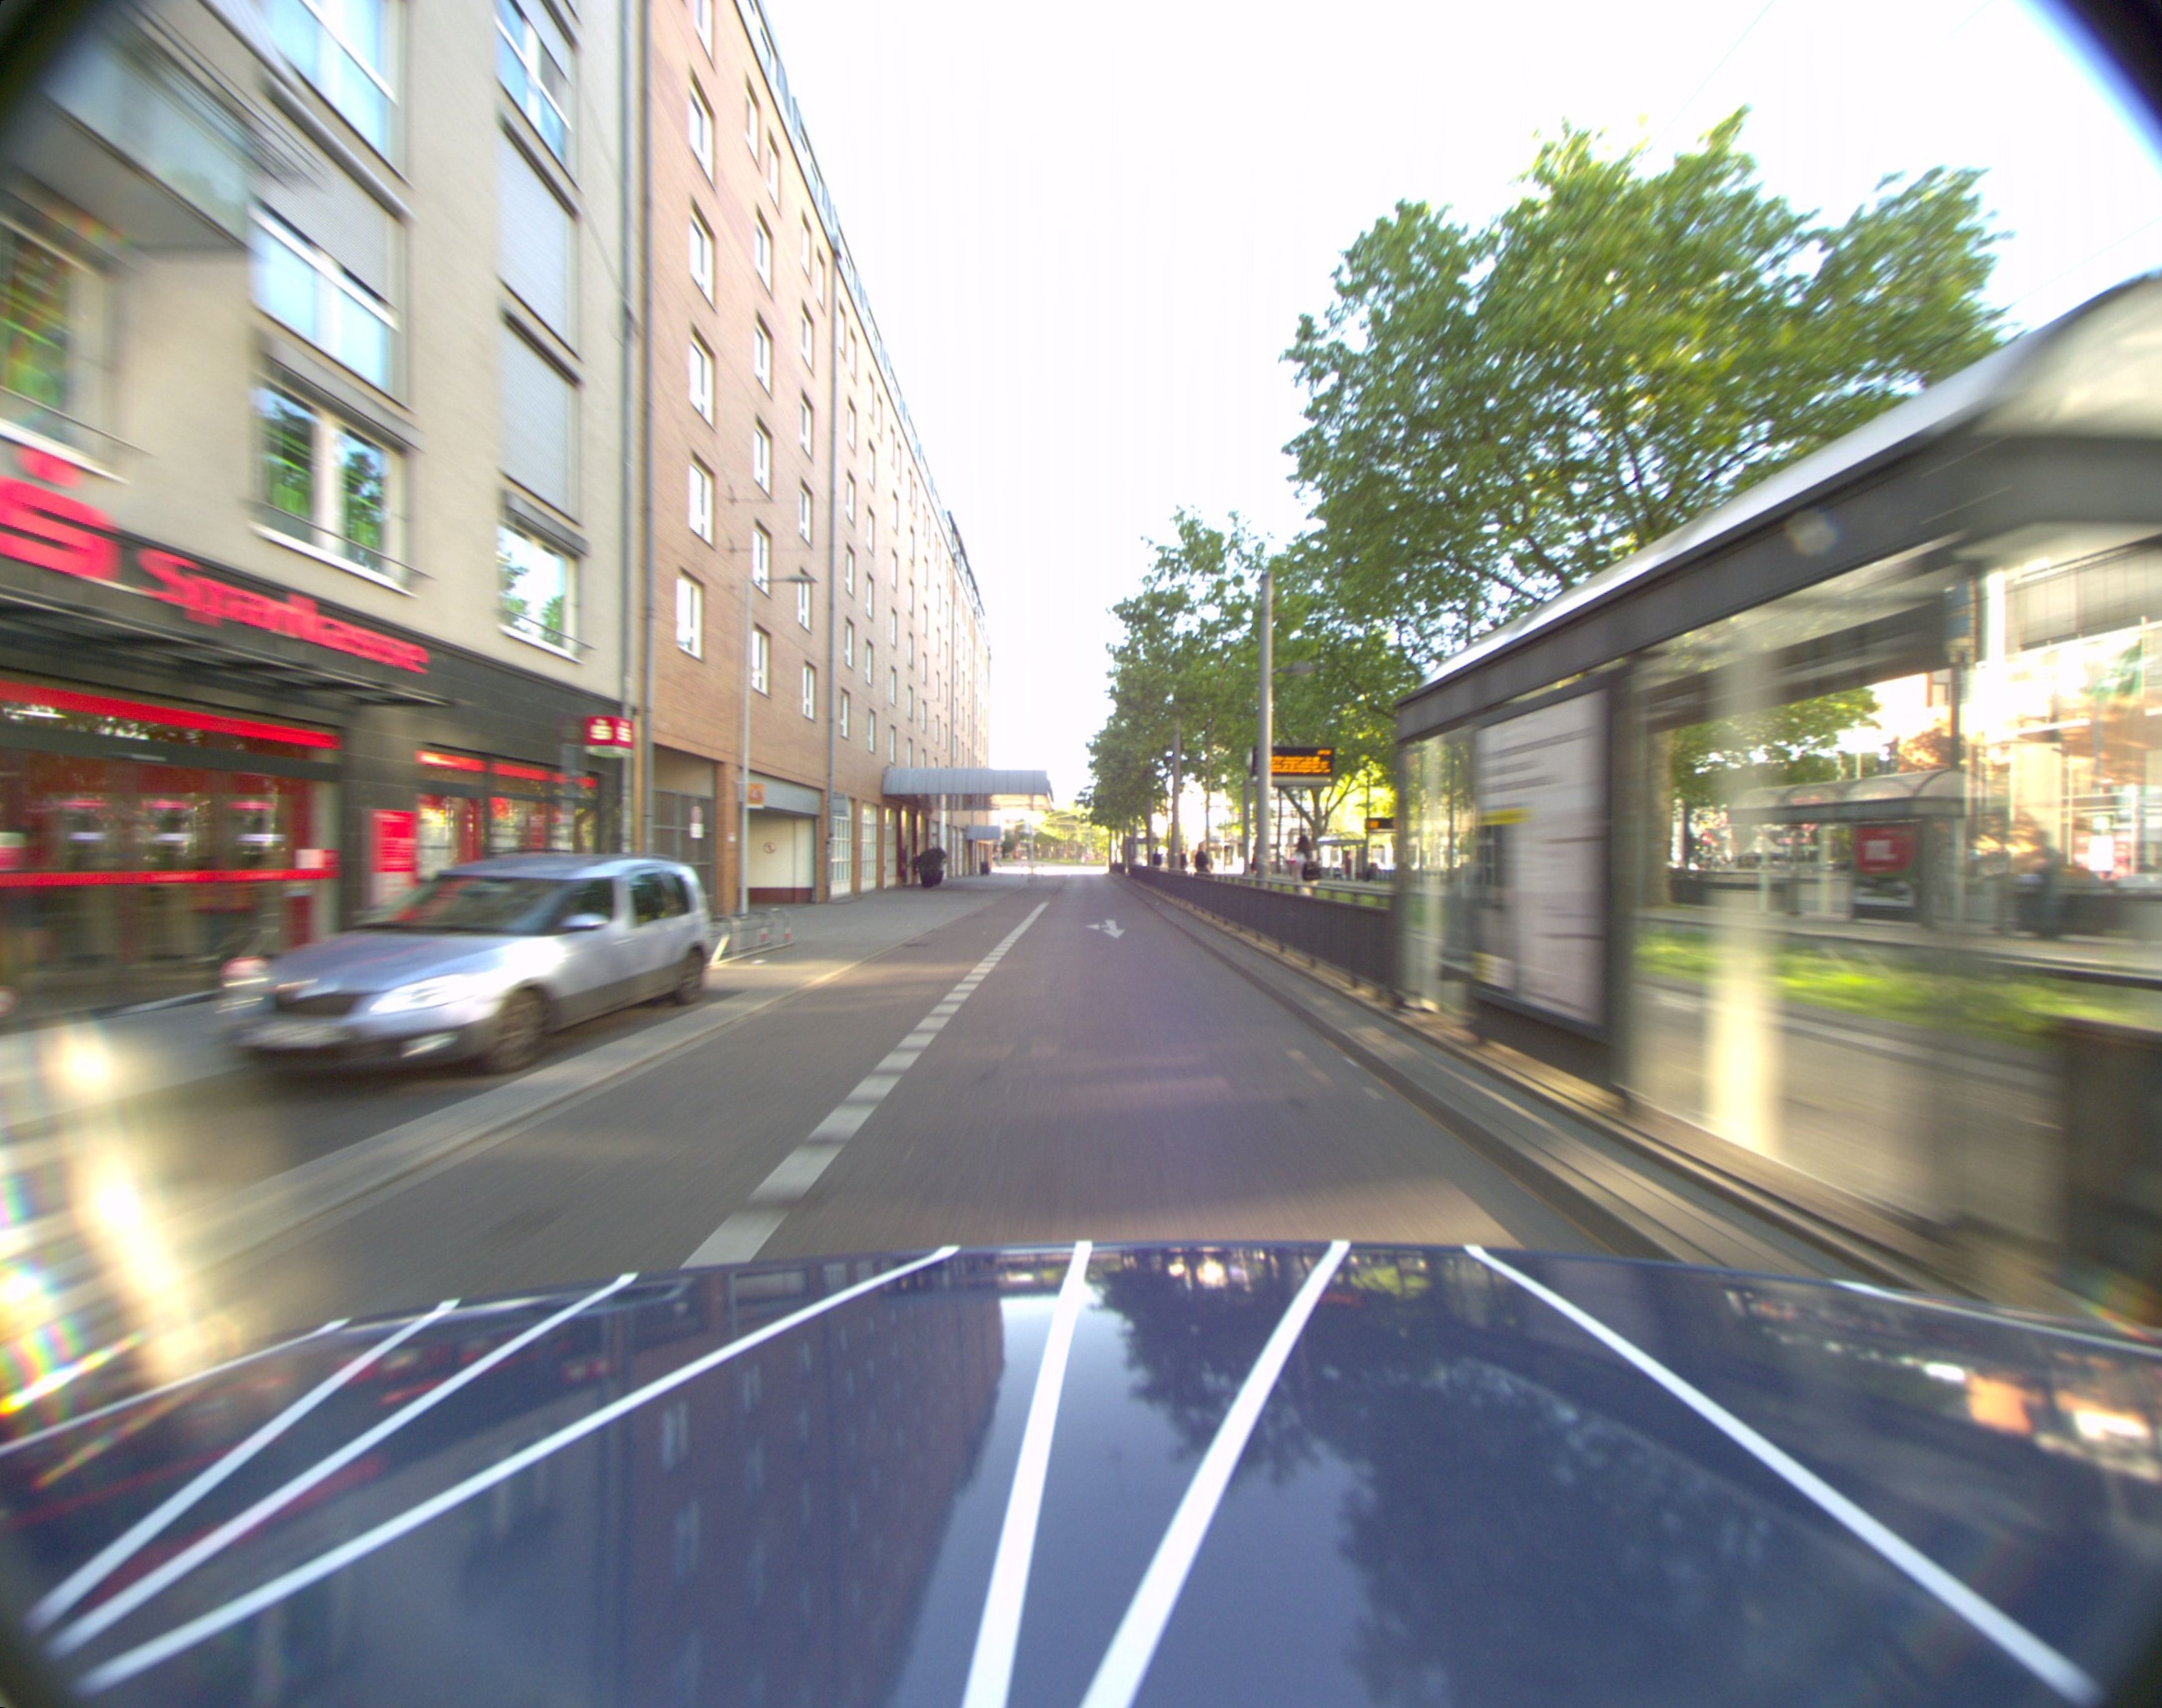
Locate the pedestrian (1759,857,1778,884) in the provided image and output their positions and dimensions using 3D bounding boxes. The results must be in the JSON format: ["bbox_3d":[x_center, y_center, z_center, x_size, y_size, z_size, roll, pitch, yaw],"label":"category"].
[{"bbox_3d":[40.897,0.956,45.220,0.579,1.595,0.598,0,1,5],"label":"pedestrian"}]

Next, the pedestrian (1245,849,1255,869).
[{"bbox_3d":[14.564,0.421,65.590,0.656,1.744,0.676,0,0,-8],"label":"pedestrian"}]

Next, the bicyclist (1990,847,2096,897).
[{"bbox_3d":[24.975,0.457,19.756,1.007,1.242,1.374,-1,0,-2],"label":"bicyclist"}]

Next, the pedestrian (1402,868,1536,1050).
[{"bbox_3d":[2.980,0.768,5.905,0.628,1.311,0.801,0,0,1],"label":"pedestrian"}]

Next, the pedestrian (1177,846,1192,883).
[{"bbox_3d":[5.163,0.538,37.862,0.648,1.828,0.638,0,0,0],"label":"pedestrian"}]

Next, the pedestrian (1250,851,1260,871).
[{"bbox_3d":[14.845,0.572,64.870,0.686,1.686,0.698,0,0,-8],"label":"pedestrian"}]

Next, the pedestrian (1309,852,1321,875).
[{"bbox_3d":[15.418,0.641,49.979,0.554,1.488,0.550,0,0,-12],"label":"pedestrian"}]

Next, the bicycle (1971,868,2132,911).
[{"bbox_3d":[25.003,0.879,19.682,0.802,0.991,2.585,-1,0,-2],"label":"bicycle"}]

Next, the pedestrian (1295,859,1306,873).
[{"bbox_3d":[16.953,0.919,58.770,0.723,1.034,0.698,0,0,8],"label":"pedestrian"}]

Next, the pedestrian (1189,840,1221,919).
[{"bbox_3d":[2.982,0.597,18.353,0.647,1.876,0.661,0,0,0],"label":"pedestrian"}]

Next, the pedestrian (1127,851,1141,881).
[{"bbox_3d":[3.036,0.662,43.612,0.742,1.680,0.645,-2,1,-1],"label":"pedestrian"}]

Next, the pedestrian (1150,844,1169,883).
[{"bbox_3d":[3.710,0.452,35.932,0.708,1.791,0.826,0,0,-7],"label":"pedestrian"}]

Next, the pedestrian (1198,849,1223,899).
[{"bbox_3d":[4.470,0.673,26.350,0.731,1.692,0.863,0,0,2],"label":"pedestrian"}]

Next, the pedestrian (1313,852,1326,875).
[{"bbox_3d":[15.523,0.640,49.395,0.571,1.477,0.607,0,0,-12],"label":"pedestrian"}]

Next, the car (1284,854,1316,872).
[{"bbox_3d":[20.993,0.823,72.961,1.998,1.630,4.000,1,0,1],"label":"car"}]

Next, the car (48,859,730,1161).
[{"bbox_3d":[-4.964,0.912,6.501,1.837,1.613,4.284,3,0,0],"label":"car"}]

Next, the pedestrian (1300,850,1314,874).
[{"bbox_3d":[15.555,0.557,52.395,0.669,1.632,0.669,0,1,-12],"label":"pedestrian"}]

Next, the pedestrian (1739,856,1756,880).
[{"bbox_3d":[43.936,0.915,50.100,0.579,1.595,0.597,0,1,-1],"label":"pedestrian"}]

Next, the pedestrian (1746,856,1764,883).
[{"bbox_3d":[40.247,0.895,45.377,0.579,1.595,0.580,0,1,5],"label":"pedestrian"}]

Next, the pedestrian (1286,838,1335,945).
[{"bbox_3d":[4.092,0.648,13.587,0.647,1.860,0.753,0,1,1],"label":"pedestrian"}]
